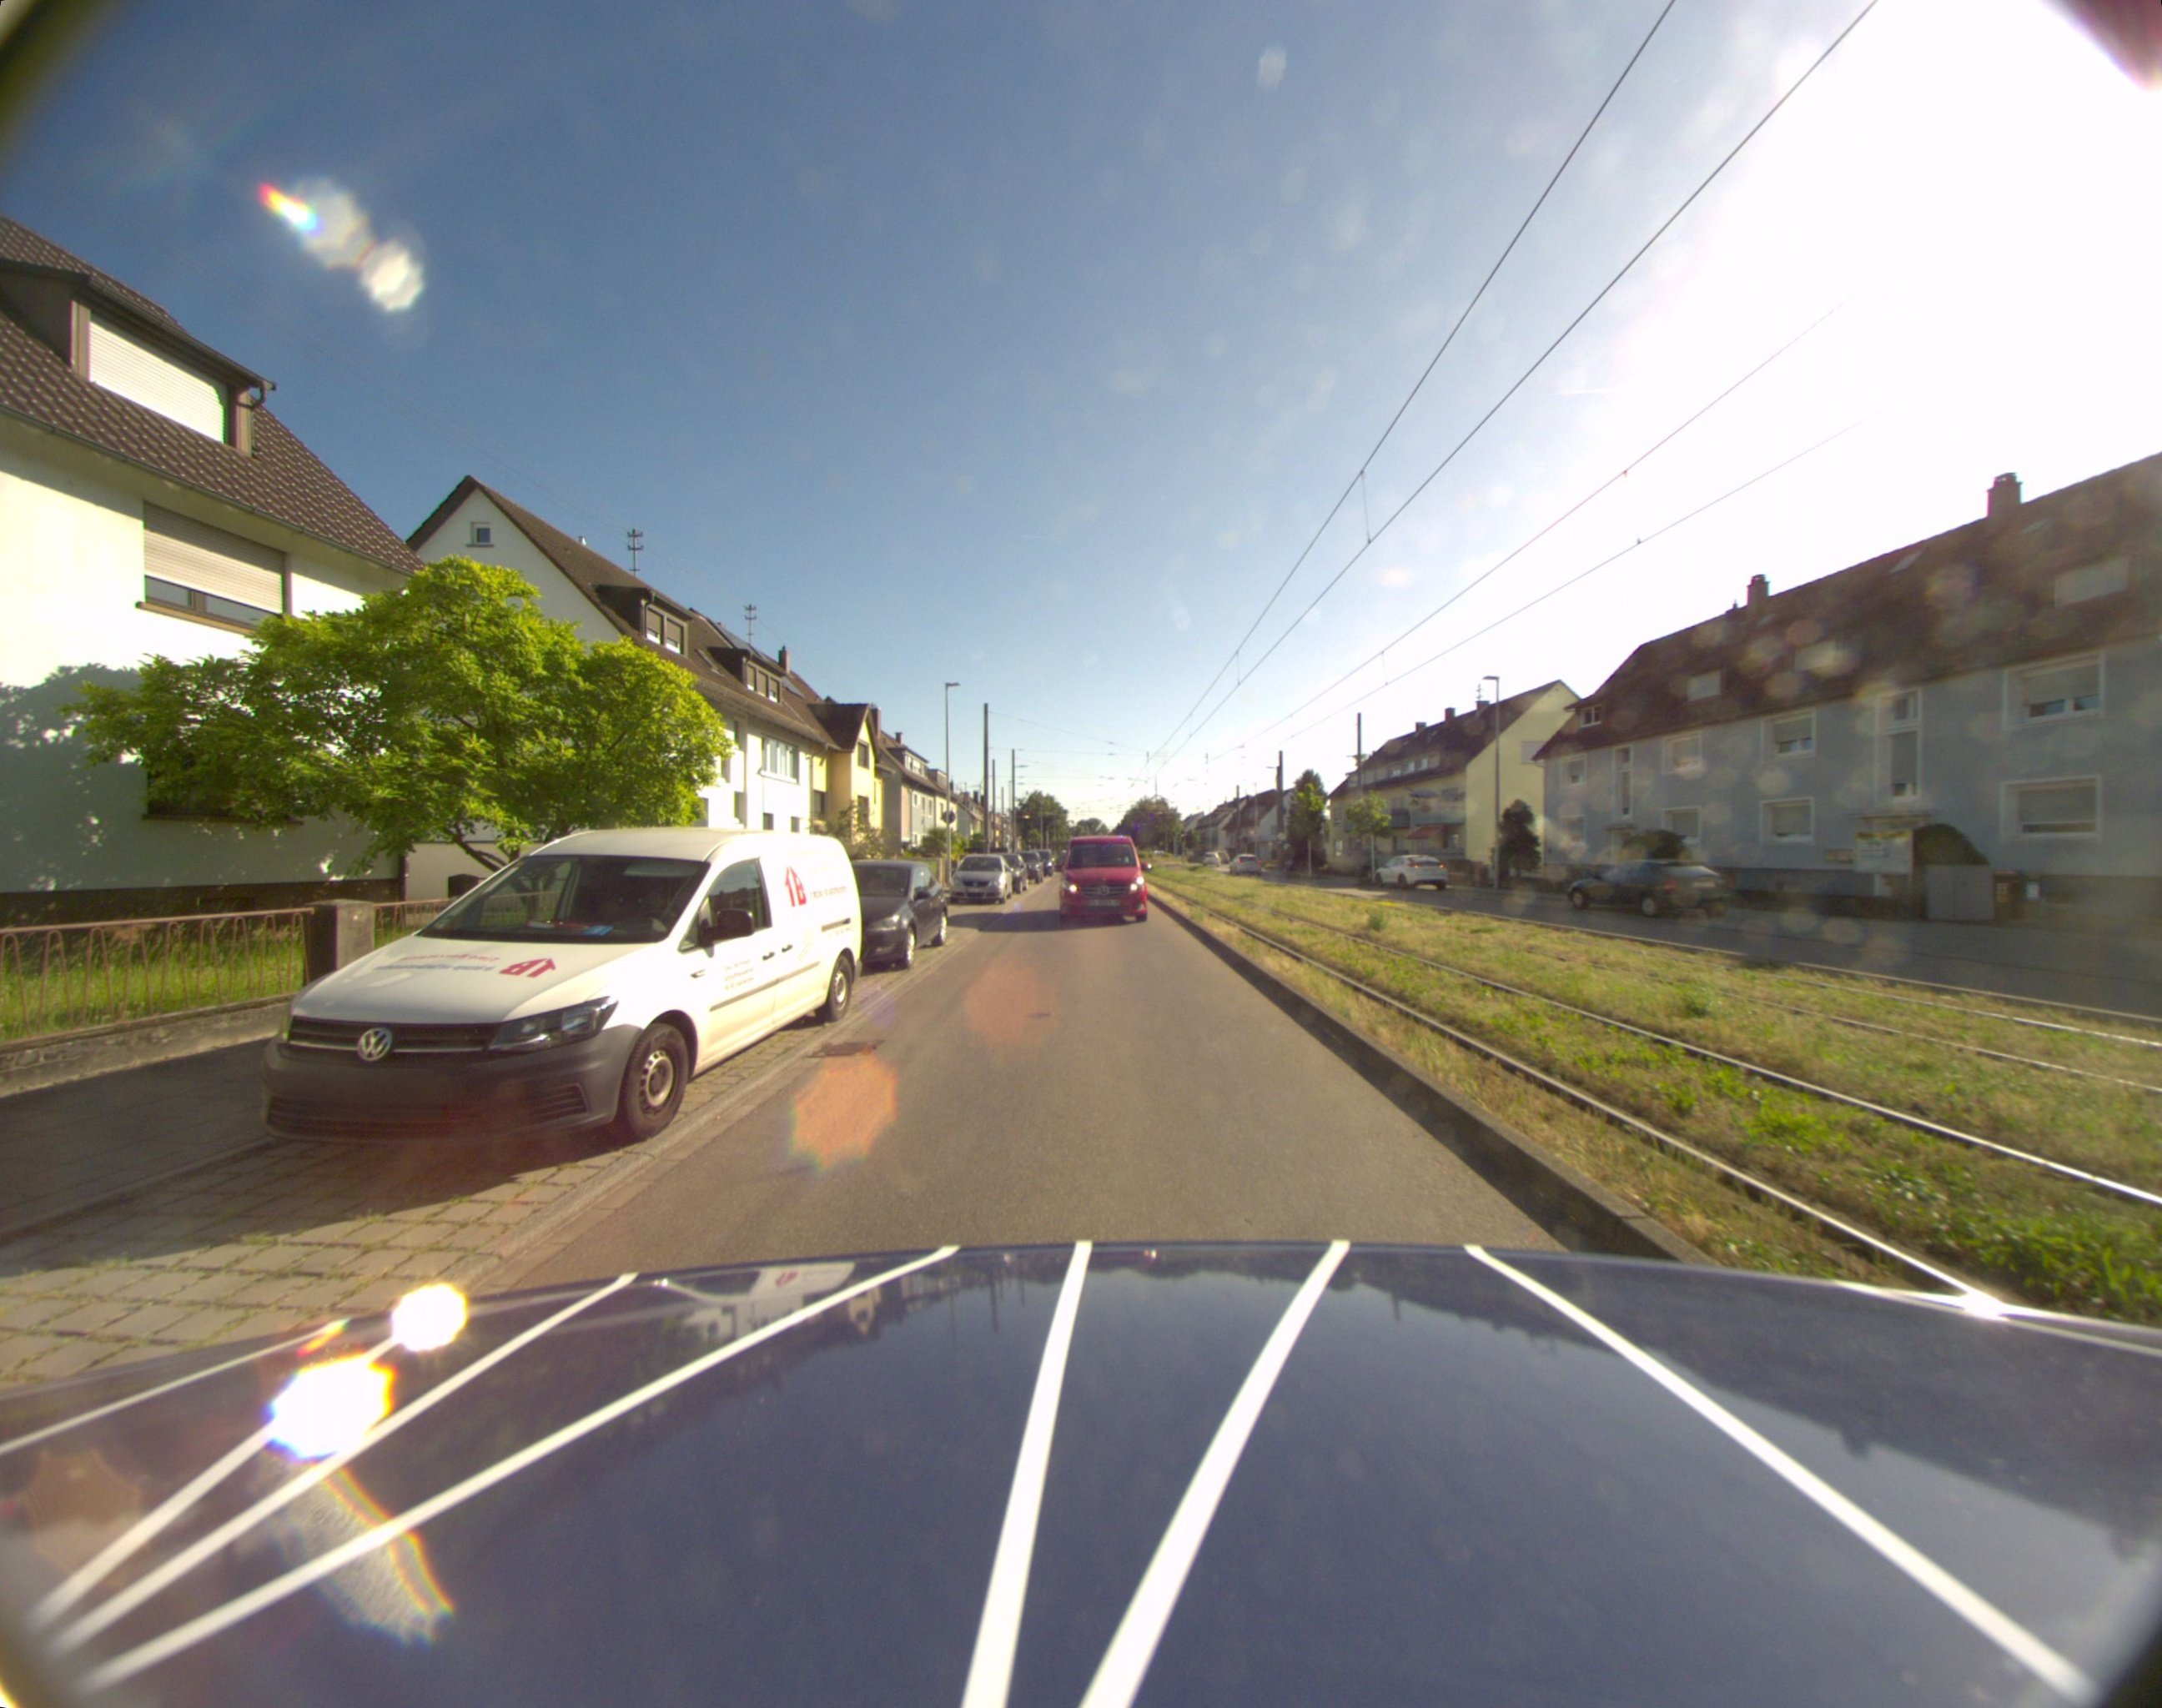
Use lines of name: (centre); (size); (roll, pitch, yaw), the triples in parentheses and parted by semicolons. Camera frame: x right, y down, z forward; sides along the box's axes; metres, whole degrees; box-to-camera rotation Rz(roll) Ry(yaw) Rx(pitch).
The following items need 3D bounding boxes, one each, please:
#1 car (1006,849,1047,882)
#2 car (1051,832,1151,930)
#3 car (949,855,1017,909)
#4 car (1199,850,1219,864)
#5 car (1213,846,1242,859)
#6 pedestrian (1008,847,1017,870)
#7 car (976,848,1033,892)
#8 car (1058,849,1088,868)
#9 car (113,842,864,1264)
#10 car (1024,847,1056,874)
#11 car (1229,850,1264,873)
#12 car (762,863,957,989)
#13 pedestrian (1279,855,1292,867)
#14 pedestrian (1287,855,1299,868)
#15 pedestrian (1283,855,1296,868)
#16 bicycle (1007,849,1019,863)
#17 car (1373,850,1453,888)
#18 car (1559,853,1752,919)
car: (-2.823, 0.570, 40.208); (1.859, 1.649, 4.473); (0, 1, 0)
car: (0.316, 0.528, 18.367); (1.999, 1.970, 5.236); (-2, 1, -3)
car: (-3.011, 0.802, 24.053); (1.620, 1.467, 4.448); (0, 1, -1)
car: (13.174, 0.330, 78.278); (1.553, 1.404, 3.659); (0, 1, 2)
car: (17.364, -0.196, 89.962); (1.825, 1.570, 4.008); (0, 1, 38)
pedestrian: (-4.939, 0.317, 54.726); (0.584, 1.713, 0.714); (0, 1, 1)
car: (-2.901, 0.585, 29.595); (1.670, 1.538, 3.835); (2, 1, 2)
car: (-0.817, 0.410, 75.183); (2.001, 1.762, 3.993); (-1, 2, -16)
car: (-3.148, 0.818, 5.508); (1.694, 1.766, 4.655); (0, 0, 2)
car: (-2.868, 0.448, 54.188); (1.966, 1.826, 4.926); (0, 1, 0)
car: (11.776, 0.538, 54.314); (1.712, 1.482, 4.023); (0, 2, 2)
car: (-3.089, 0.925, 11.504); (1.675, 1.445, 4.125); (0, 1, 1)
pedestrian: (16.954, 0.576, 63.056); (0.819, 1.040, 0.687); (0, 2, -2)
pedestrian: (17.178, 0.596, 61.489); (0.725, 1.000, 0.594); (-1, 3, -24)
pedestrian: (17.060, 0.592, 62.199); (0.821, 1.059, 0.625); (-2, 3, -33)
bicycle: (-4.932, 0.116, 55.153); (0.602, 0.974, 1.562); (2, 1, 2)
car: (14.255, 0.600, 32.887); (1.696, 1.509, 4.214); (0, 1, 2)
car: (14.211, 0.723, 19.157); (1.794, 1.454, 4.166); (0, 1, 2)
